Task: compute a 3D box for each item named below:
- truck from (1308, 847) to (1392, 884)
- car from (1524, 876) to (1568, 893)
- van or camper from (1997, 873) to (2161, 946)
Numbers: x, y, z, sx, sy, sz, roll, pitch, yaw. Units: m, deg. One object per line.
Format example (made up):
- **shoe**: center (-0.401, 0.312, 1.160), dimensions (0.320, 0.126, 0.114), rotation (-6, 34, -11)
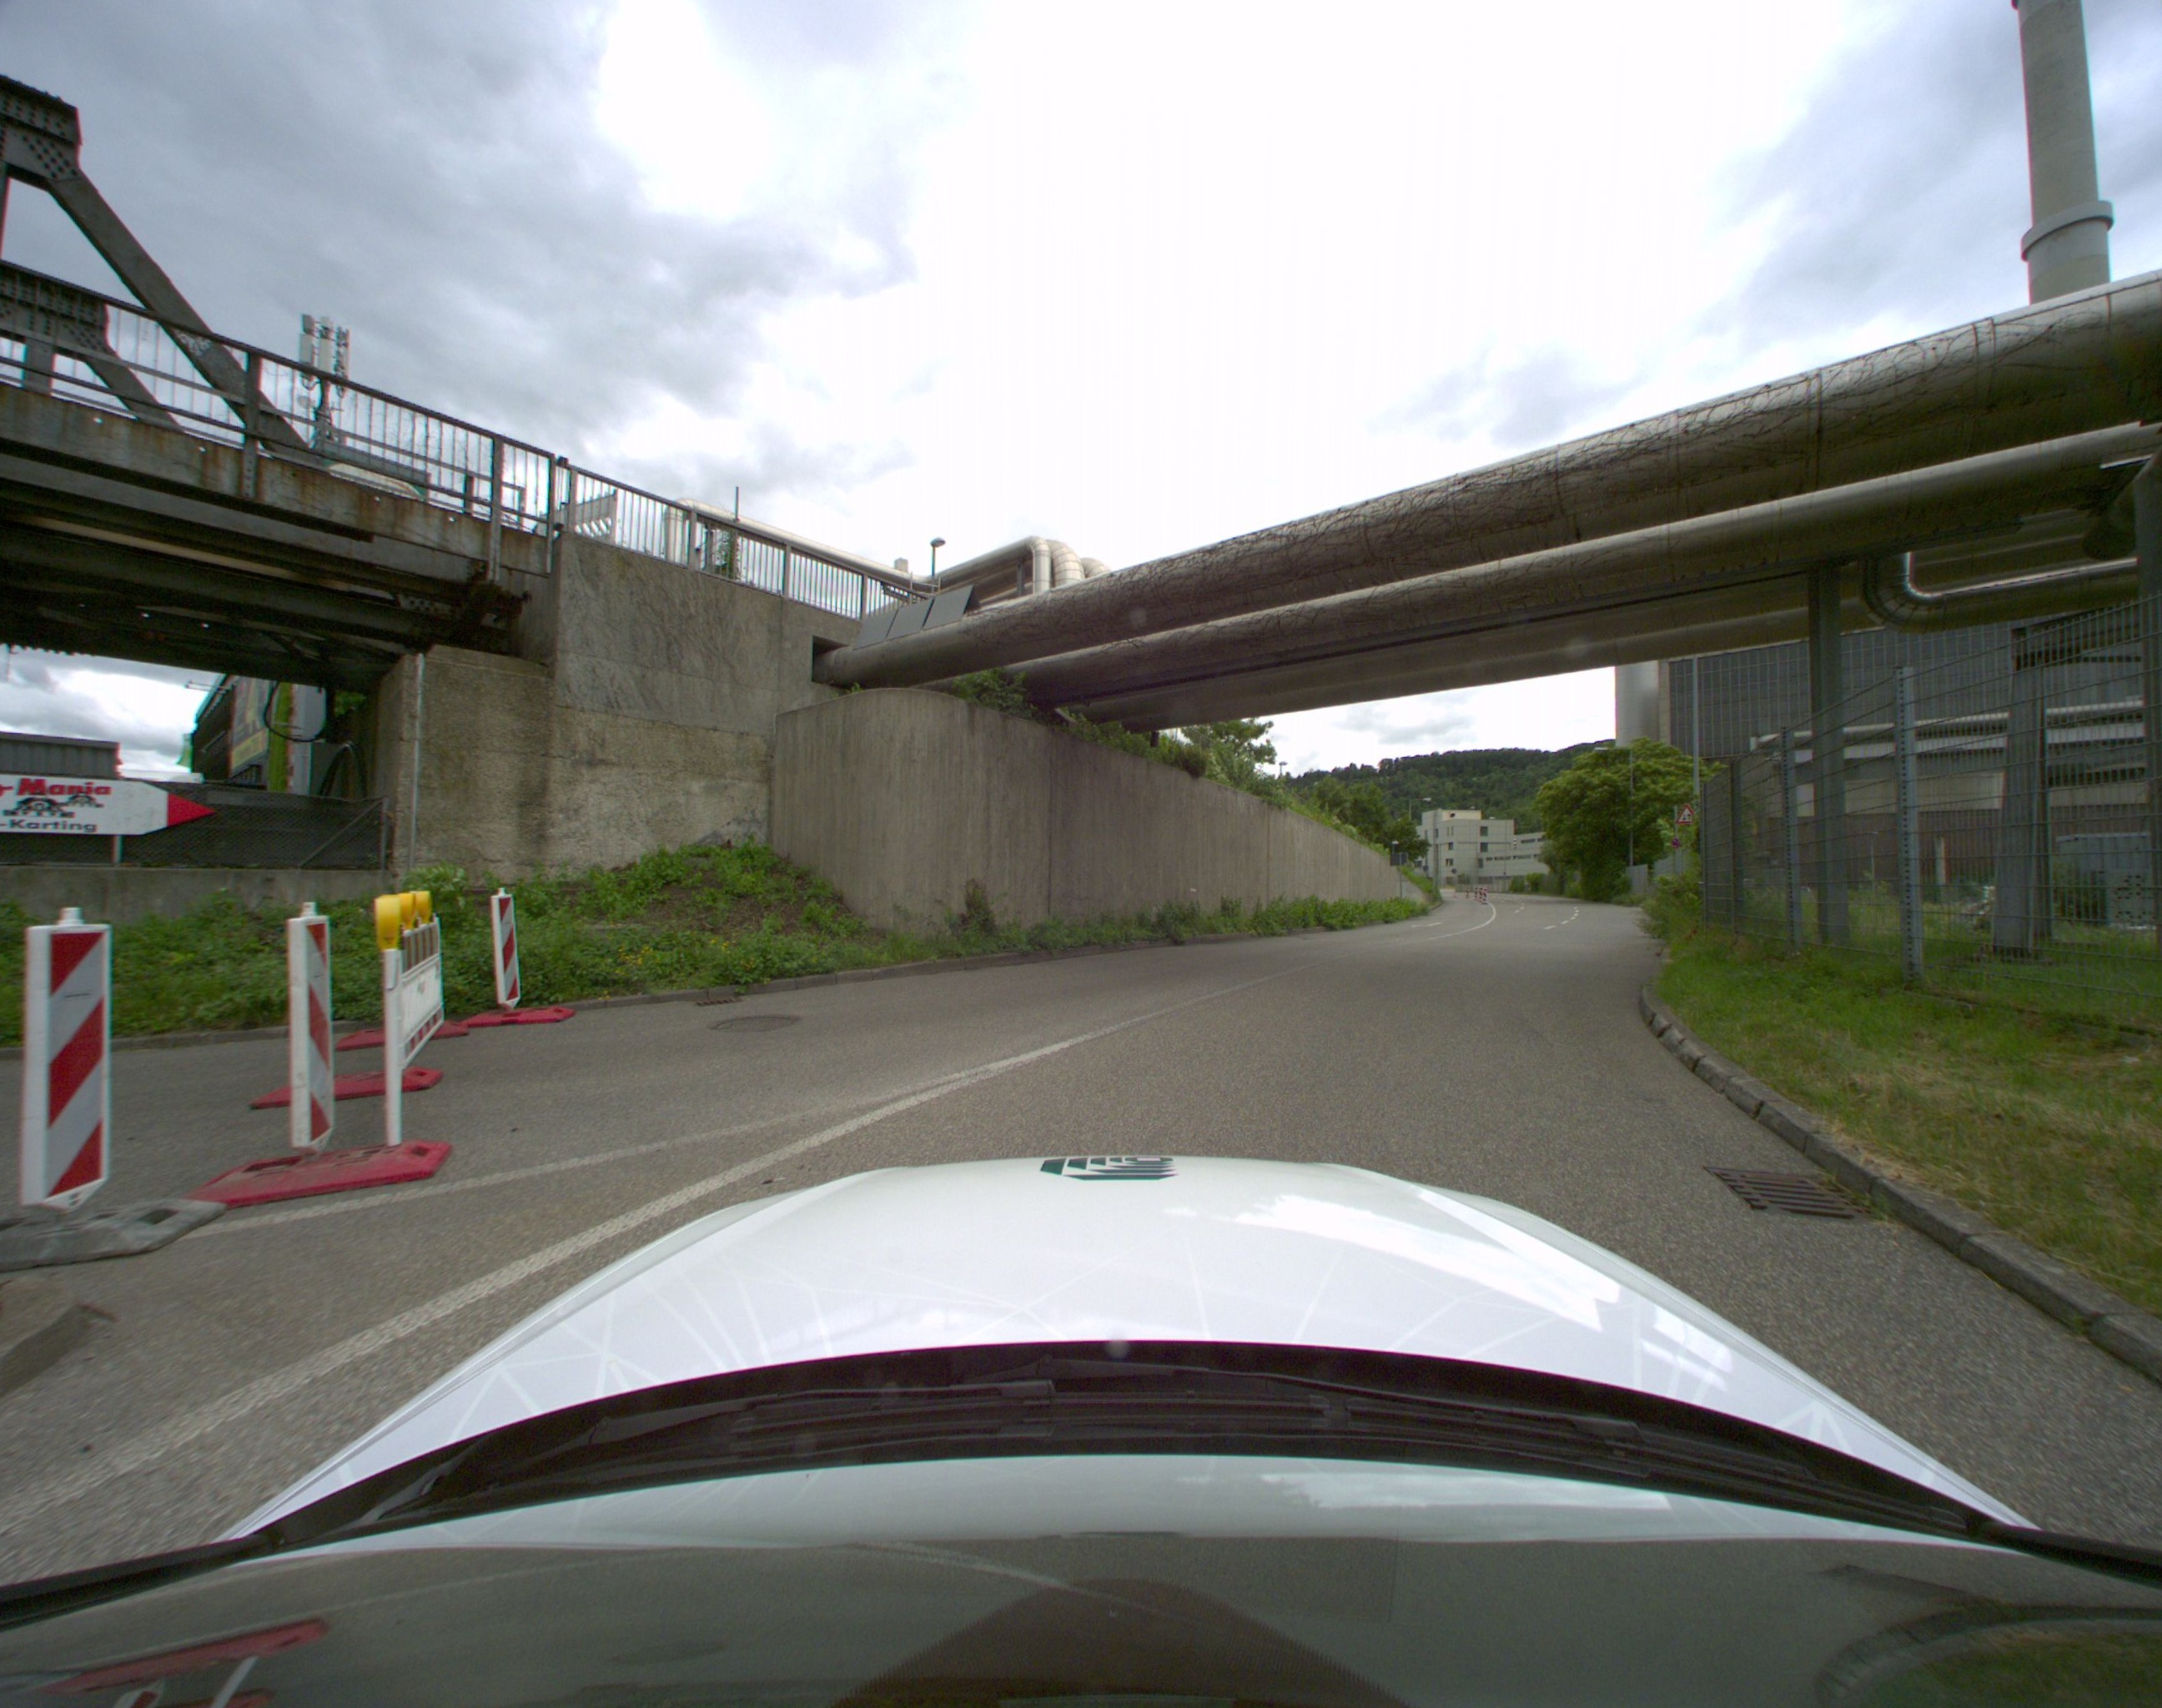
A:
- **truck**: center (27.939, 1.246, 84.873), dimensions (7.817, 3.539, 3.050), rotation (1, -4, -1)
- **car**: center (71.386, 4.703, 125.128), dimensions (1.999, 2.263, 6.132), rotation (2, 0, -18)
- **van or camper**: center (69.443, 3.658, 53.019), dimensions (11.699, 4.532, 5.516), rotation (0, -4, 25)
